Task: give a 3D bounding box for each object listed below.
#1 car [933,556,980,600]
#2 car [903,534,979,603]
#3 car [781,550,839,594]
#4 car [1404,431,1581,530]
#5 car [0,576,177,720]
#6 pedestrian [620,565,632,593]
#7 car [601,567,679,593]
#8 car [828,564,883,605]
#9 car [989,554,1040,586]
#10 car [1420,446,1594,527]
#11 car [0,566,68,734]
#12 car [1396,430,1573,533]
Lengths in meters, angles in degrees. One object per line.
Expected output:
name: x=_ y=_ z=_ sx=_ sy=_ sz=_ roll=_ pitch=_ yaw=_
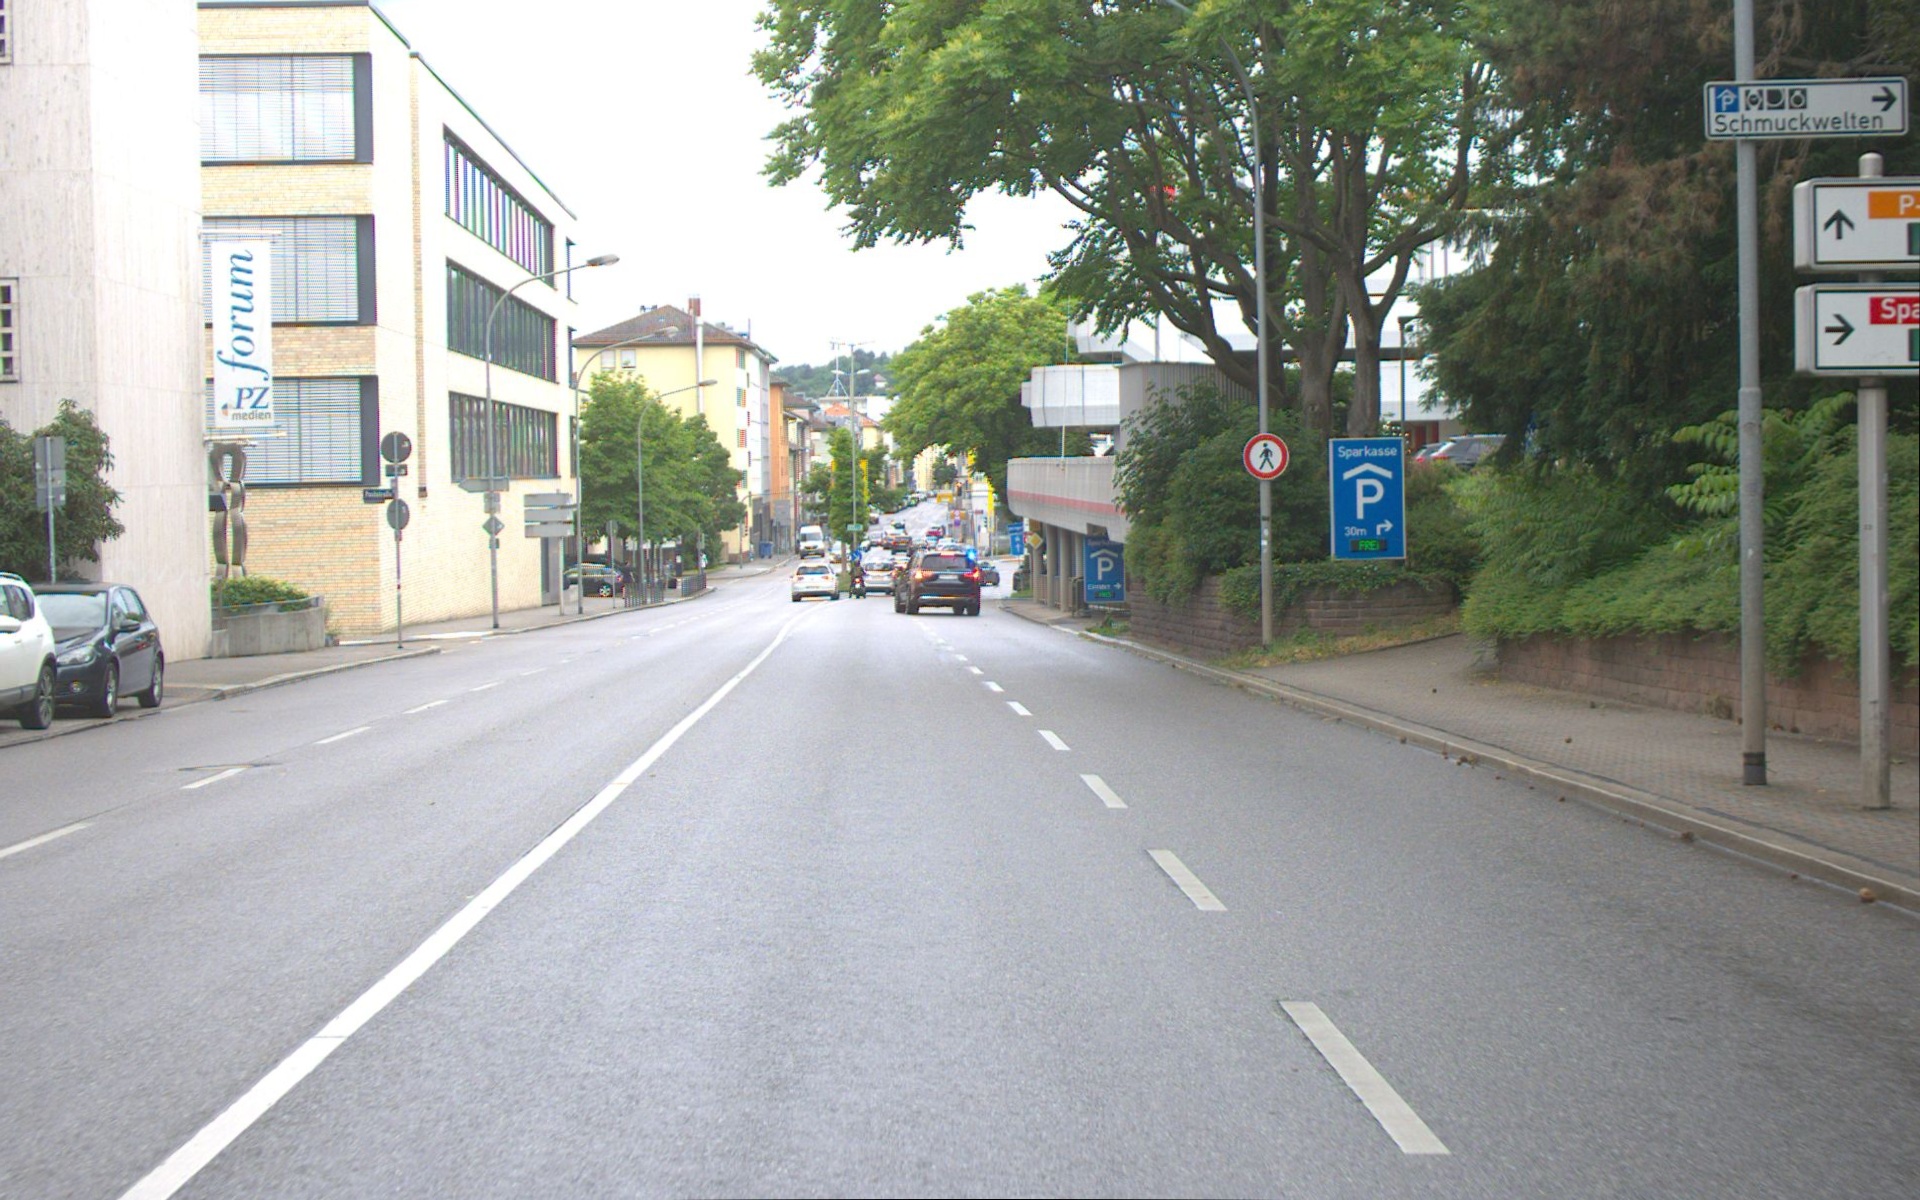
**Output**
car: x=-0.183 y=-1.040 z=161.483 sx=2.173 sy=1.997 sz=4.000 roll=0 pitch=1 yaw=0
car: x=-0.553 y=-0.908 z=97.167 sx=2.091 sy=1.904 sz=4.100 roll=0 pitch=1 yaw=0
car: x=-5.931 y=-1.108 z=135.499 sx=1.993 sy=1.674 sz=4.001 roll=0 pitch=1 yaw=-6
car: x=11.093 y=-2.488 z=71.759 sx=3.585 sy=2.007 sz=1.596 roll=0 pitch=1 yaw=7
car: x=-10.105 y=0.500 z=38.744 sx=1.748 sy=1.475 sz=4.182 roll=1 pitch=1 yaw=-3
pedestrian: x=-15.411 y=-0.965 z=158.786 sx=0.454 sy=1.274 sz=0.454 roll=0 pitch=0 yaw=10
car: x=-15.258 y=-0.948 z=163.879 sx=3.654 sy=1.230 sz=1.441 roll=0 pitch=1 yaw=-7
car: x=-4.388 y=-0.658 z=143.428 sx=1.993 sy=1.674 sz=4.001 roll=0 pitch=1 yaw=-6
car: x=2.961 y=-1.627 z=185.447 sx=1.994 sy=1.674 sz=3.998 roll=0 pitch=1 yaw=12
car: x=11.777 y=-2.433 z=74.187 sx=3.623 sy=1.700 sz=1.640 roll=0 pitch=1 yaw=7
car: x=-10.081 y=0.465 z=33.558 sx=1.748 sy=1.592 sz=4.182 roll=1 pitch=1 yaw=-2
car: x=10.487 y=-2.359 z=68.930 sx=3.451 sy=2.007 sz=1.653 roll=0 pitch=1 yaw=7
